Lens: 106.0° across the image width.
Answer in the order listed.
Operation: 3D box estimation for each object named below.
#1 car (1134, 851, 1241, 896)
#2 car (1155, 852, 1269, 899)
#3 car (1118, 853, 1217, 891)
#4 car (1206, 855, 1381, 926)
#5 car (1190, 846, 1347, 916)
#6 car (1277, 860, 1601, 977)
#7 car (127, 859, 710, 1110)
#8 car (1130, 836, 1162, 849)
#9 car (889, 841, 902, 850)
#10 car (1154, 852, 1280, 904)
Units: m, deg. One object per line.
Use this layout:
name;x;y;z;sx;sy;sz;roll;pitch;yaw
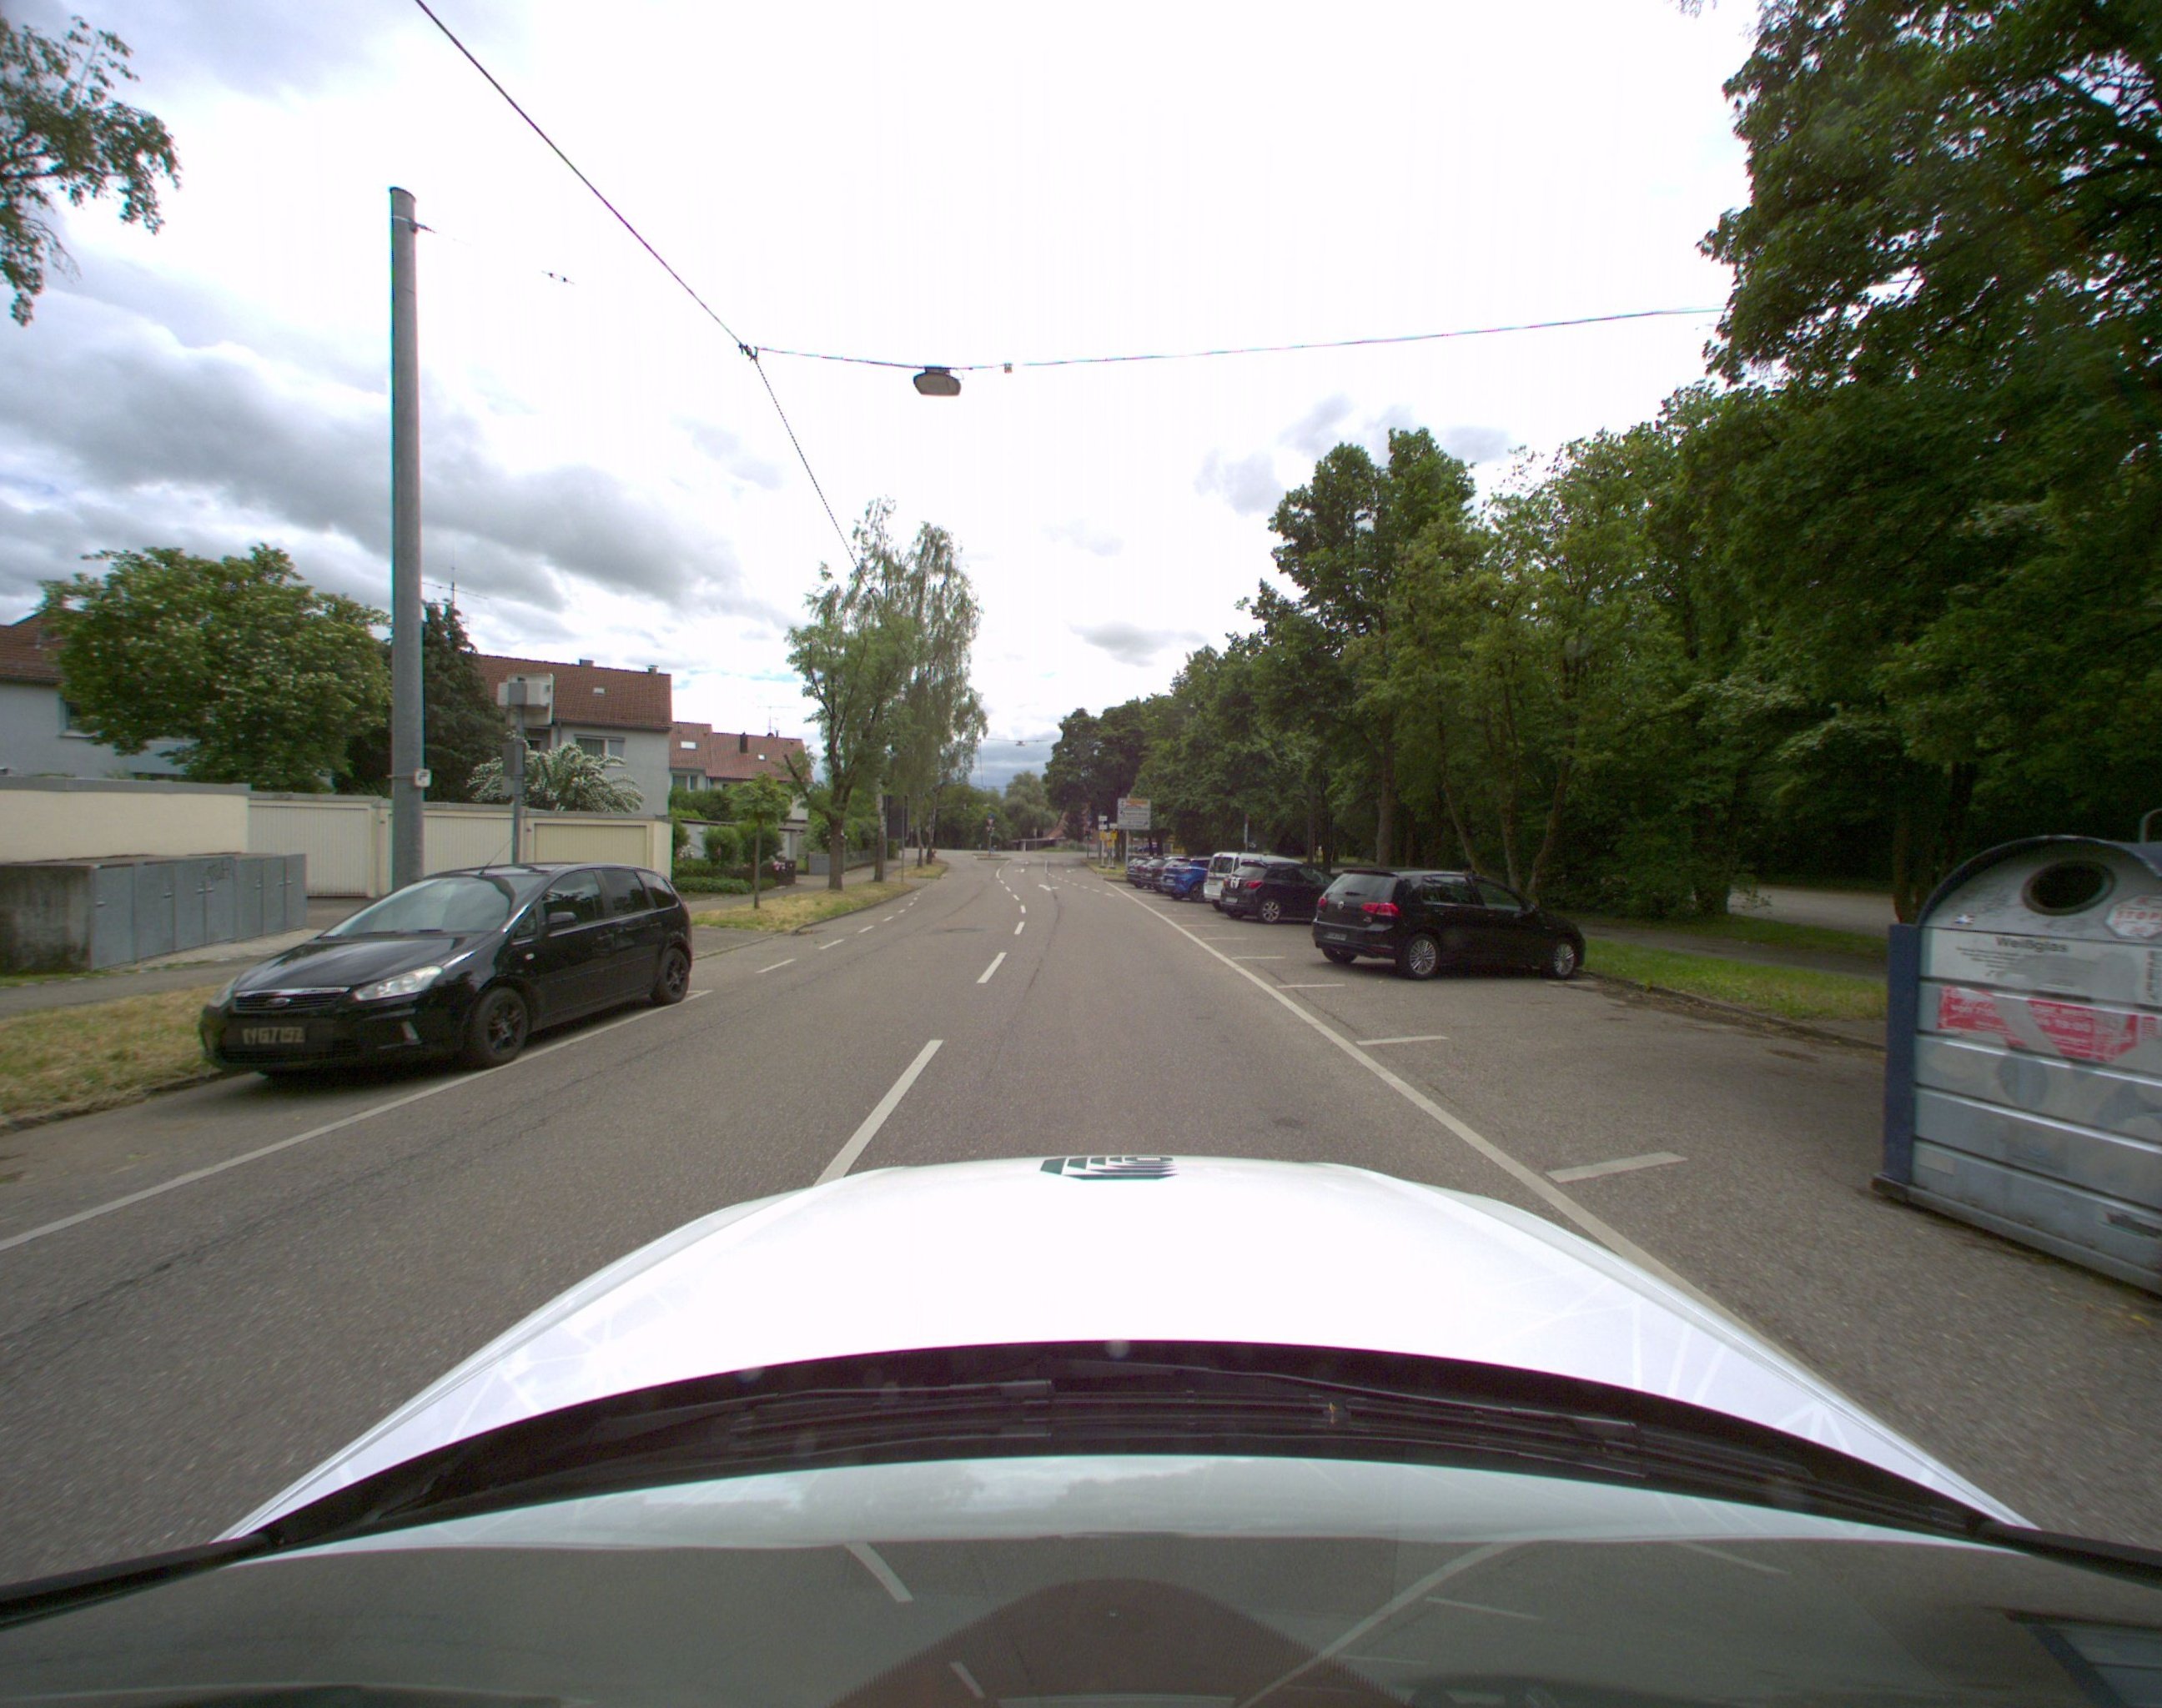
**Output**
car;4.259;0.773;32.525;3.832;1.528;1.734;4;-1;-21
car;4.895;0.819;30.546;3.832;1.528;1.734;4;-1;-21
car;3.794;0.770;35.699;3.887;1.426;1.817;4;-1;-21
car;5.214;0.896;20.068;3.832;1.468;1.734;4;0;-21
car;5.249;0.752;22.856;3.832;1.720;1.865;4;-1;-21
car;5.146;0.912;11.803;4.001;1.414;2.043;4;-1;-21
car;-5.324;0.866;7.483;1.799;1.563;4.266;-2;0;0
car;9.051;-1.589;113.330;3.861;1.647;1.985;0;1;-23
car;-34.119;-1.528;149.961;1.801;1.512;3.971;0;1;-22
car;4.603;0.809;27.603;3.832;1.528;1.734;4;-1;-21
